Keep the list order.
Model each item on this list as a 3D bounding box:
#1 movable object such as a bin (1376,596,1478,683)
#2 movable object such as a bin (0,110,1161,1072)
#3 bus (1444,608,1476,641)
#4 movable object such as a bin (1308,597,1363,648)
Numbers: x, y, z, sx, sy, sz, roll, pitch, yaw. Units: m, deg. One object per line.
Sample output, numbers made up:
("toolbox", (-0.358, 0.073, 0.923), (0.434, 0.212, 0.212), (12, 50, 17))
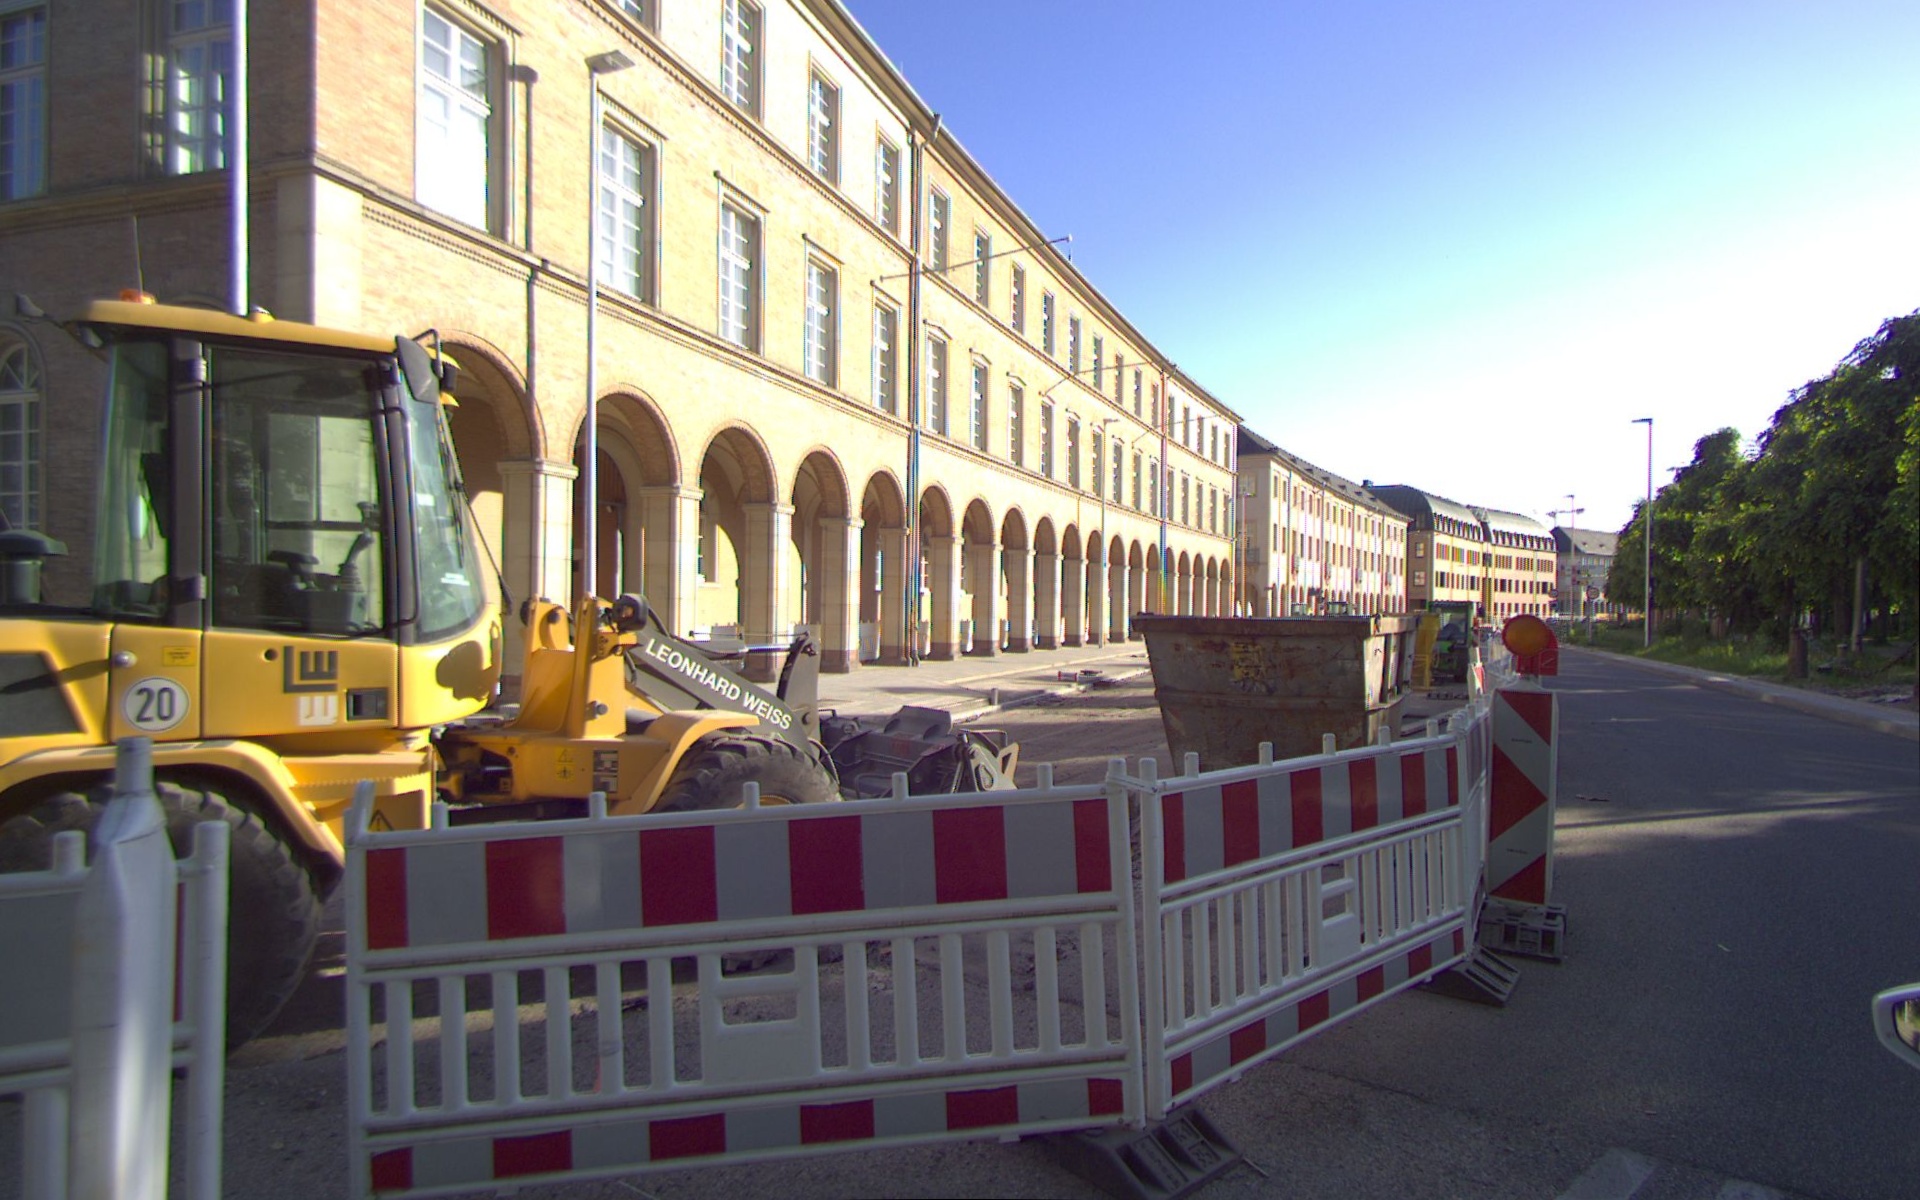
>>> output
("movable object such as a bin", (11.954, 0.911, 25.561), (2.020, 1.975, 4.326), (1, 1, 29))
("movable object such as a bin", (-2.039, 0.025, 5.283), (5.861, 3.071, 2.547), (1, -1, -30))
("bus", (43.951, 2.179, 88.219), (2.043, 2.721, 4.673), (1, -2, 32))
("movable object such as a bin", (19.630, 1.122, 52.416), (2.043, 2.508, 4.609), (1, 1, 28))
